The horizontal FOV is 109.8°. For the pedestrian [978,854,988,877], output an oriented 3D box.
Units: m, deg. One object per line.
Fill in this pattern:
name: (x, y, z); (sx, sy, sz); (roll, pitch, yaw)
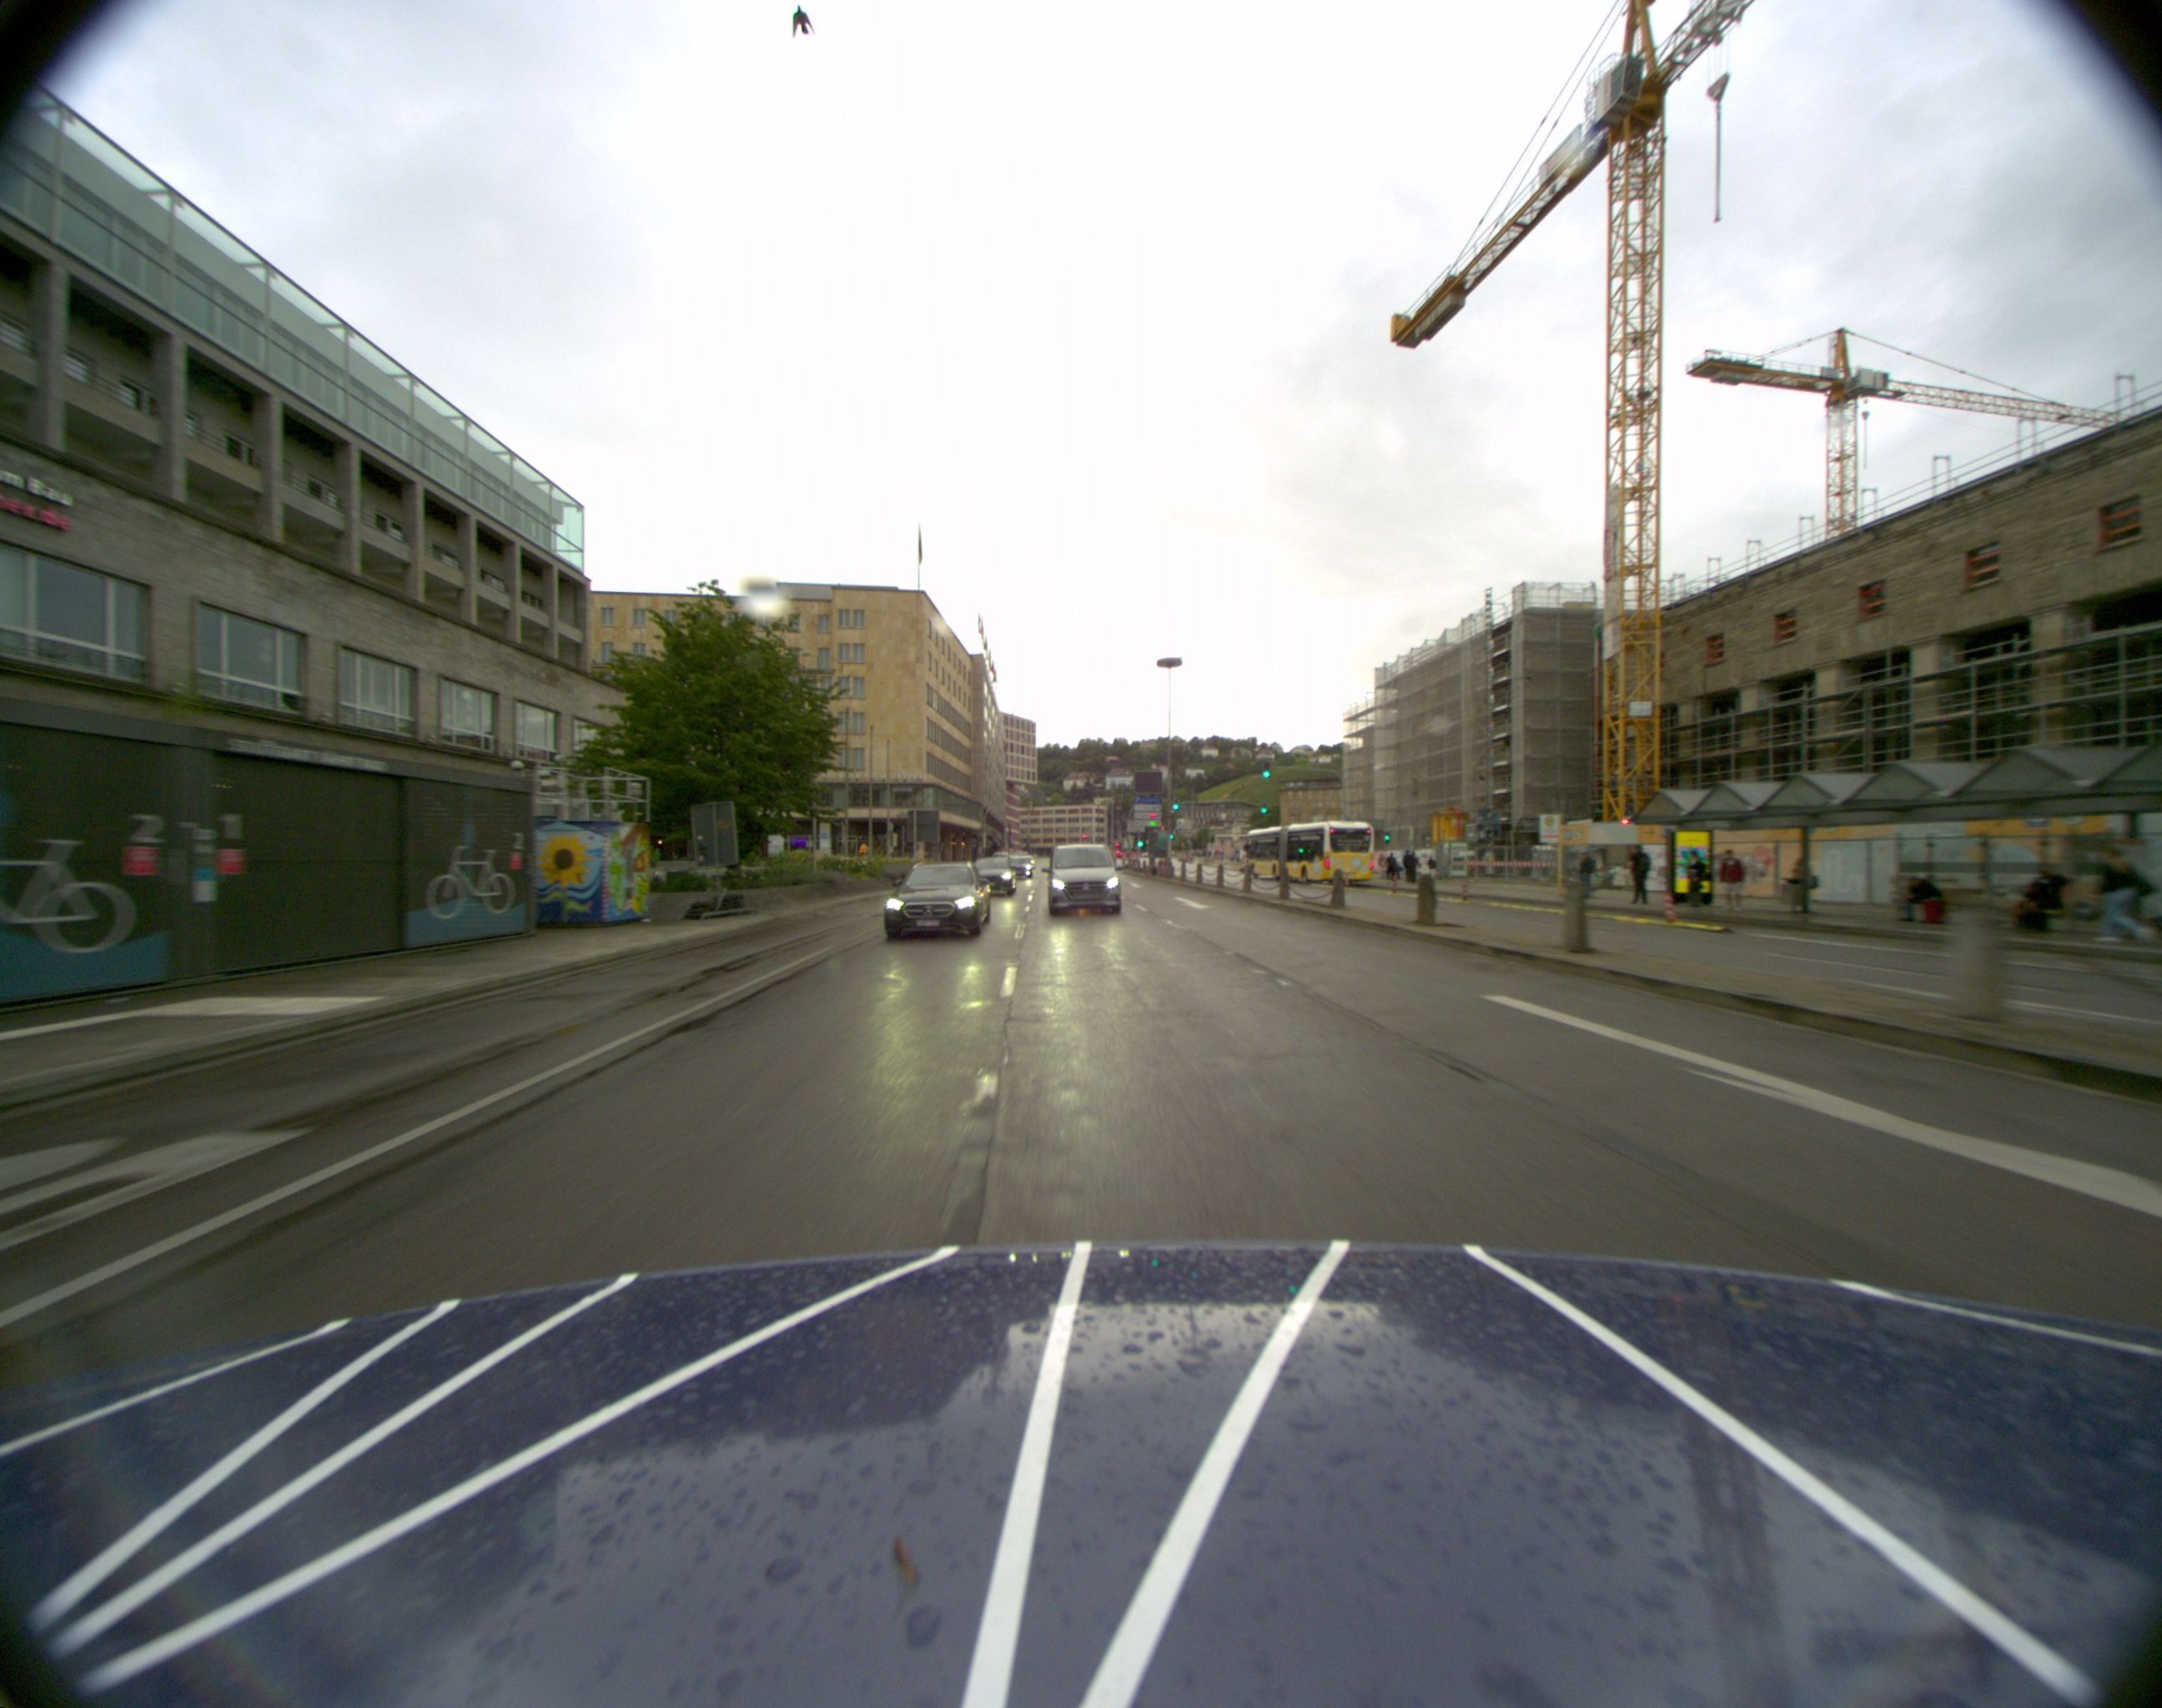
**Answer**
pedestrian: (-8.156, 0.960, 63.173); (0.674, 1.908, 0.792); (-1, 1, -2)

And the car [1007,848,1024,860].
car: (-9.003, 0.001, 104.936); (1.999, 1.600, 4.874); (0, 1, -2)

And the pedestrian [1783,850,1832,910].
pedestrian: (20.144, 0.709, 21.066); (0.558, 1.621, 0.804); (-1, 1, -12)

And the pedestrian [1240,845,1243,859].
pedestrian: (20.280, -0.282, 95.797); (0.311, 1.759, 0.346); (-1, 1, 1)

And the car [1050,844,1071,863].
car: (-2.068, -0.069, 74.555); (1.872, 1.715, 3.900); (-1, 1, -4)

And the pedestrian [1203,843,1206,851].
pedestrian: (23.608, -1.317, 145.054); (0.375, 1.606, 0.357); (-1, 1, -2)

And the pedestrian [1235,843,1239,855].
pedestrian: (23.624, -0.749, 115.011); (0.517, 1.745, 0.463); (-1, 2, -2)

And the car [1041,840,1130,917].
car: (-0.022, 0.589, 21.959); (1.999, 1.893, 5.247); (-2, 1, -5)

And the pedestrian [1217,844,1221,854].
pedestrian: (21.974, -0.816, 121.005); (0.438, 1.606, 0.413); (-1, 1, -2)

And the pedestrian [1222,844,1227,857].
pedestrian: (22.991, -0.565, 121.821); (0.593, 2.022, 0.686); (-1, 1, -2)

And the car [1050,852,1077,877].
car: (-1.402, 0.768, 59.256); (1.872, 1.747, 3.900); (-1, 1, -4)

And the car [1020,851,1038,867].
car: (-5.675, 0.494, 82.850); (1.764, 1.582, 3.841); (-1, 1, -2)

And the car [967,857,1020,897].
car: (-3.593, 0.905, 31.816); (1.877, 1.499, 4.163); (0, 1, -2)

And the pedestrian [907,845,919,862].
pedestrian: (-17.942, -0.061, 81.210); (1.001, 1.836, 1.109); (0, 1, 0)

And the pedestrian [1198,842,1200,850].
pedestrian: (25.088, -1.691, 161.129); (0.438, 1.492, 0.413); (-1, 1, 11)

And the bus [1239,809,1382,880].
bus: (13.564, -0.578, 47.909); (2.917, 3.557, 19.072); (1, 1, -1)

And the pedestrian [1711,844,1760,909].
pedestrian: (18.359, 0.620, 21.312); (0.726, 1.780, 0.747); (-1, 1, -9)

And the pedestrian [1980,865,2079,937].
pedestrian: (19.701, 0.958, 15.799); (1.058, 1.424, 0.830); (-1, 1, -5)

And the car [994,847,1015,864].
car: (-8.719, 0.191, 86.747); (1.999, 1.874, 4.995); (0, 1, -2)

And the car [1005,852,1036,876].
car: (-4.181, 0.650, 53.012); (1.999, 1.549, 3.907); (0, 1, -2)

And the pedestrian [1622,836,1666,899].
pedestrian: (17.884, 0.425, 24.140); (0.761, 1.947, 0.822); (-1, 1, -6)

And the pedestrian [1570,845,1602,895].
pedestrian: (18.306, 0.586, 27.543); (0.700, 1.780, 0.794); (-1, 1, 8)

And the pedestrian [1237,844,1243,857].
pedestrian: (21.991, -0.475, 105.020); (0.807, 1.675, 0.617); (0, 1, 1)

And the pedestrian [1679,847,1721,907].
pedestrian: (18.602, 0.672, 22.852); (0.558, 1.780, 0.804); (-1, 1, -12)

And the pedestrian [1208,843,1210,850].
pedestrian: (24.428, -1.436, 145.094); (0.438, 1.233, 0.413); (-1, 1, 1)

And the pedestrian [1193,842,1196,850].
pedestrian: (23.364, -1.620, 156.449); (0.438, 1.606, 0.413); (-1, 1, 7)

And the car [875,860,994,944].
car: (-3.023, 0.922, 16.677); (1.823, 1.455, 4.698); (-1, 1, -2)

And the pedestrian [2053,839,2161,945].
pedestrian: (17.845, 0.638, 13.211); (0.777, 1.780, 0.860); (-1, 1, 4)

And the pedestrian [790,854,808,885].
pedestrian: (-16.148, 0.892, 43.509); (0.699, 1.741, 0.836); (-1, 1, -5)

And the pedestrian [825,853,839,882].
pedestrian: (-15.264, 0.815, 46.585); (0.536, 1.780, 0.681); (-1, 1, 0)

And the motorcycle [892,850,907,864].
motorcycle: (-19.215, 0.275, 80.464); (0.964, 1.445, 2.850); (0, 1, -2)

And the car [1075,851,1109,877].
car: (0.588, 0.536, 44.002); (1.747, 1.369, 3.999); (0, 1, -2)

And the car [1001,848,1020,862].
car: (-8.622, 0.112, 92.934); (1.999, 1.644, 5.133); (0, 1, -2)

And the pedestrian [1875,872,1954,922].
pedestrian: (19.508, 0.996, 17.808); (0.846, 1.087, 0.925); (-1, 1, -5)

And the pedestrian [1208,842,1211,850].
pedestrian: (23.134, -1.424, 136.651); (0.438, 1.344, 0.413); (-1, 1, 7)
